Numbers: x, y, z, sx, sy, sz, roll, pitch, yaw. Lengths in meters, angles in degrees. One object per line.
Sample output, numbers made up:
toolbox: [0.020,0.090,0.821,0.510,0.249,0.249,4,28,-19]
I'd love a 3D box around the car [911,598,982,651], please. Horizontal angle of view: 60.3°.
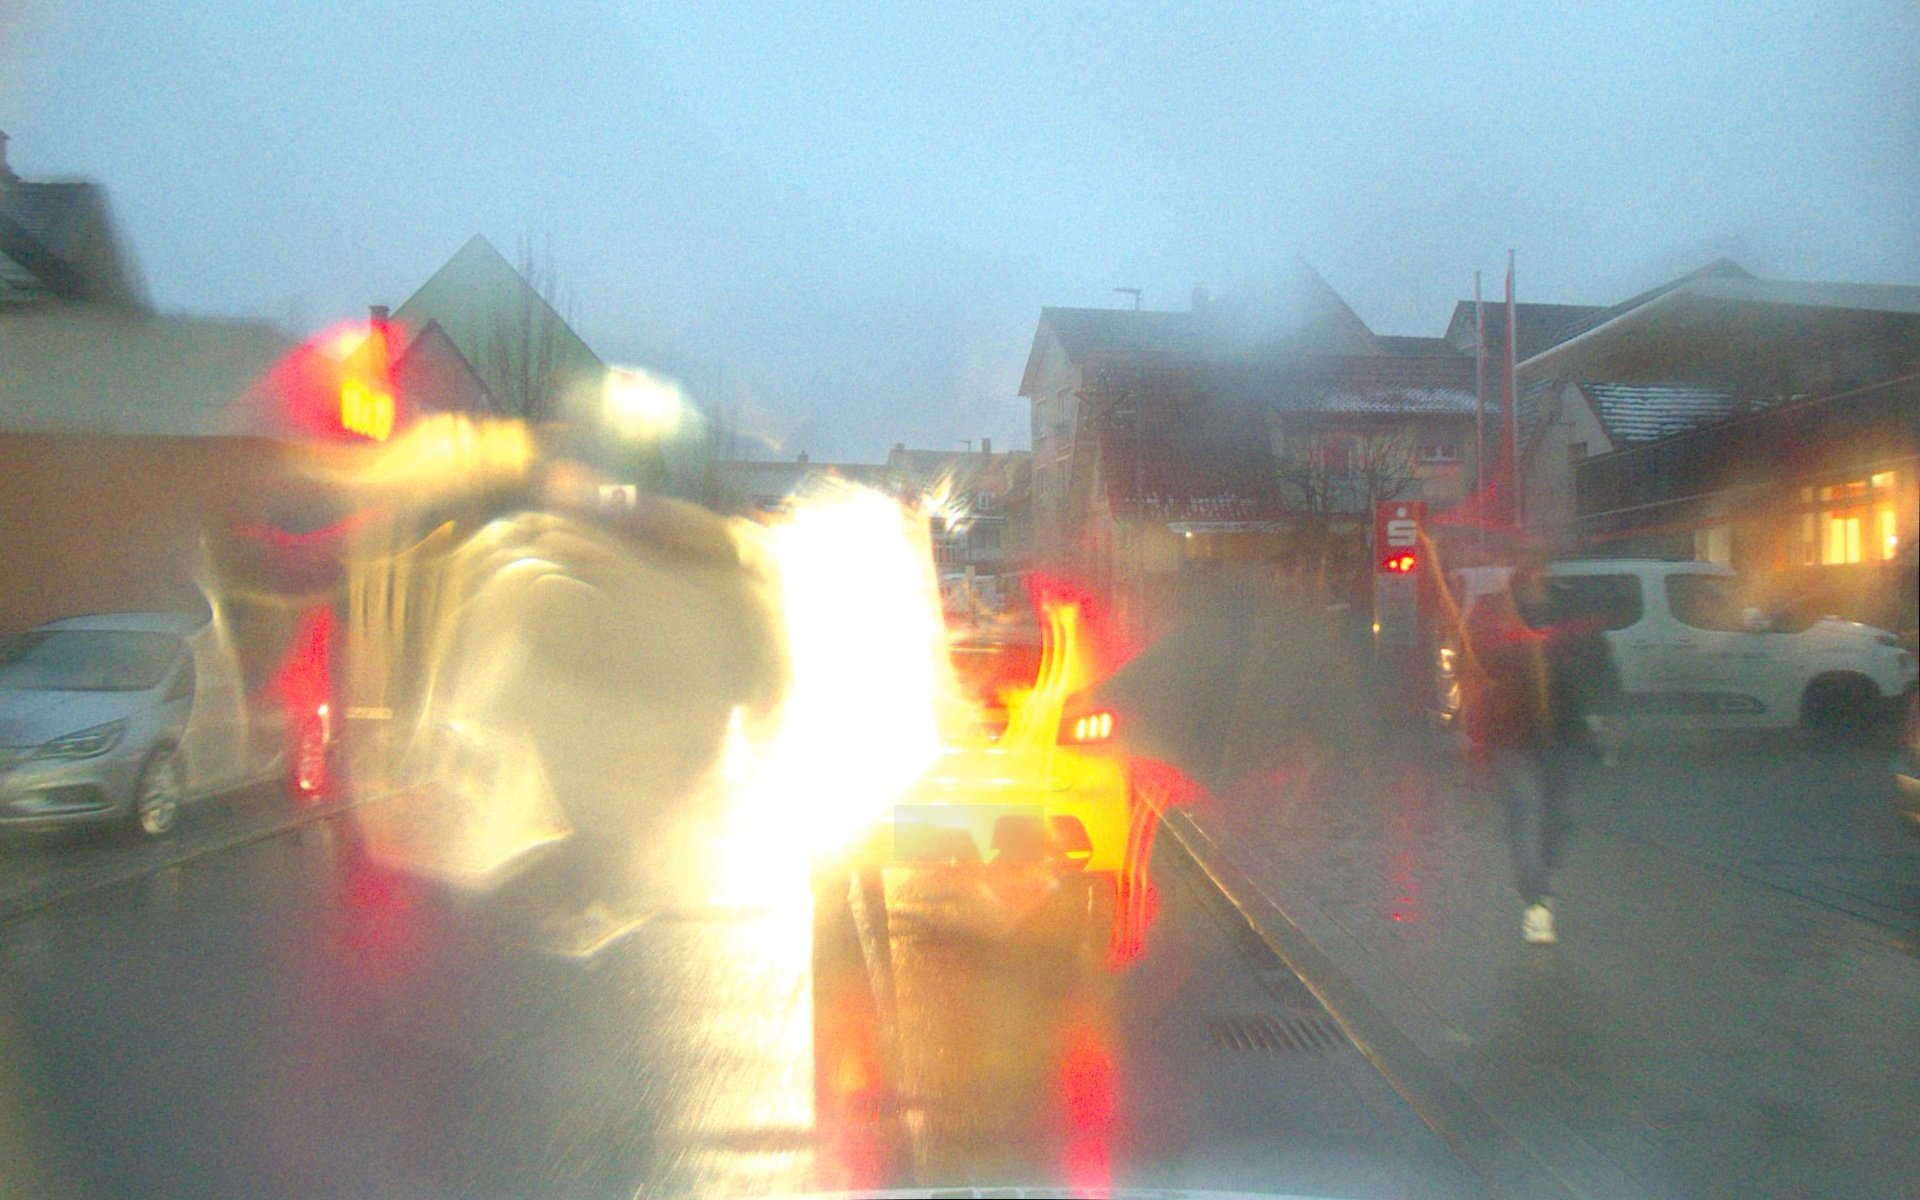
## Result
car: [-0.465,0.777,53.359,1.955,1.616,3.995,1,0,-5]

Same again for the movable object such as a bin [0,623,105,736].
movable object such as a bin: [-11.536,0.986,20.858,1.129,1.378,0.849,0,0,-12]

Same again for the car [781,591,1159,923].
car: [-0.052,0.763,9.836,1.778,1.560,3.997,1,0,-3]

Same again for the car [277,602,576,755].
car: [-6.000,0.811,19.301,1.953,1.549,4.976,0,0,-1]

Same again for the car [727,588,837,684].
car: [-3.605,0.676,34.341,1.954,1.735,4.964,2,1,-3]

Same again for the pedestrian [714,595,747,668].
pedestrian: [-5.148,0.691,37.068,0.562,1.613,0.530,0,1,14]

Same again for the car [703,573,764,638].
car: [-9.821,0.284,71.649,2.439,2.605,6.748,1,-1,-8]

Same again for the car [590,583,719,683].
car: [-5.906,0.591,32.491,2.045,1.823,5.018,0,0,-6]

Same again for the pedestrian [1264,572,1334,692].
pedestrian: [5.064,0.475,24.687,0.825,1.735,0.839,-2,-1,24]

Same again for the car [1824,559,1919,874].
car: [6.554,0.517,7.826,3.904,1.512,1.913,-1,-1,1]

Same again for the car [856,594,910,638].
car: [-3.462,0.704,73.798,1.957,1.890,3.991,1,0,-10]

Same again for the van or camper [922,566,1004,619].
van or camper: [0.142,-0.465,105.498,2.617,3.100,6.684,-4,1,-24]

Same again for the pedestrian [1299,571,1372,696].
pedestrian: [5.373,0.472,23.727,0.690,1.735,0.913,-2,-1,-8]

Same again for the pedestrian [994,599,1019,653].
pedestrian: [1.538,0.867,54.809,0.730,1.759,0.872,0,1,-5]

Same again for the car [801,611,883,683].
car: [-3.259,1.223,45.078,1.915,1.573,4.409,-2,3,-8]

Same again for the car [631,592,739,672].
car: [-6.350,0.725,38.663,1.842,1.740,4.710,1,0,-2]

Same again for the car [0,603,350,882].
car: [-6.175,0.826,11.805,1.953,1.585,4.620,1,0,-1]

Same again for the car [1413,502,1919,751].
car: [6.599,0.257,15.891,4.004,2.085,2.001,-2,0,7]

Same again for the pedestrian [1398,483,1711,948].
pedestrian: [2.650,0.485,7.499,0.947,1.922,1.005,-2,0,-4]

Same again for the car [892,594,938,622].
car: [-2.879,0.528,104.621,1.961,1.639,4.156,-2,-1,-15]

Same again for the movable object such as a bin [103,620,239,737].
movable object such as a bin: [-10.041,0.981,21.106,1.316,1.377,0.887,-3,0,-11]
